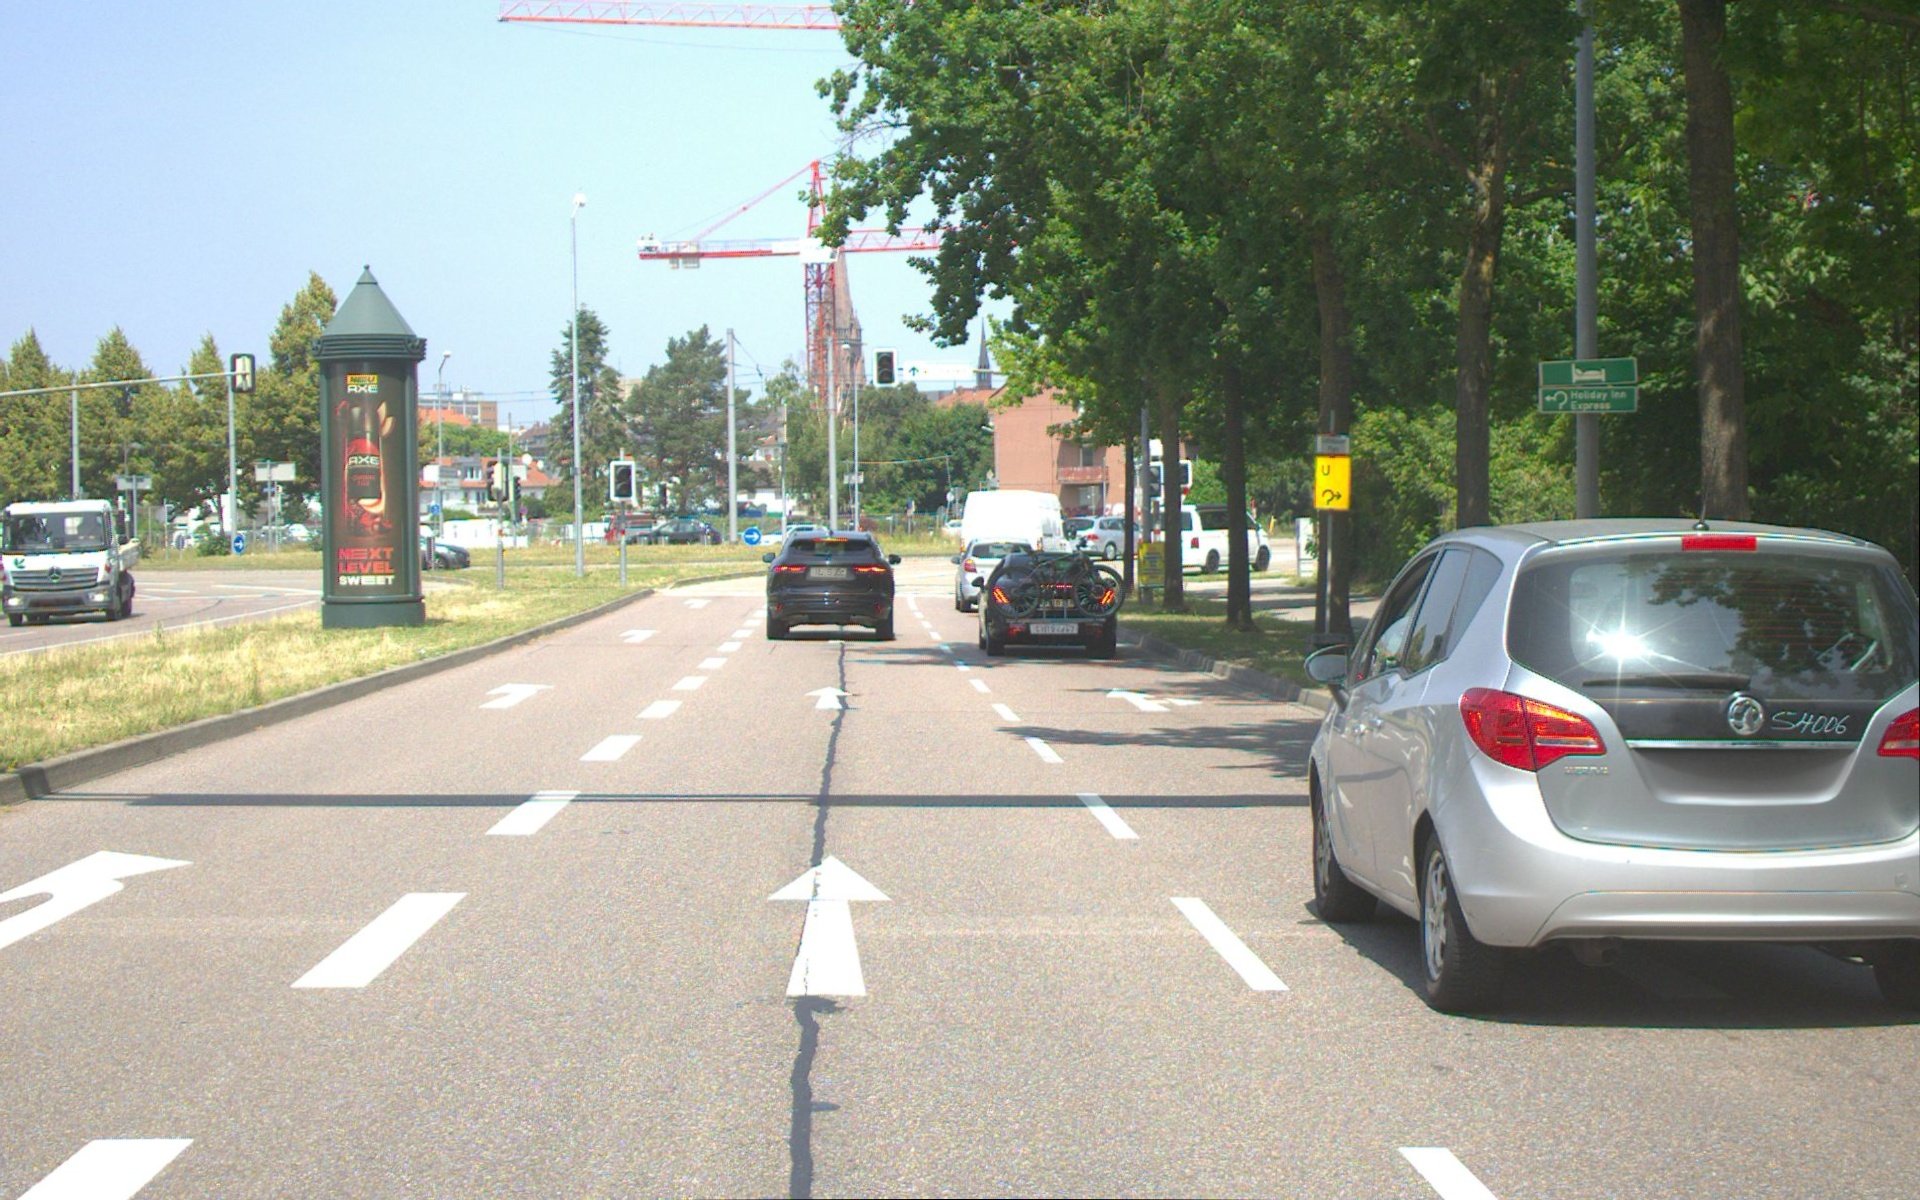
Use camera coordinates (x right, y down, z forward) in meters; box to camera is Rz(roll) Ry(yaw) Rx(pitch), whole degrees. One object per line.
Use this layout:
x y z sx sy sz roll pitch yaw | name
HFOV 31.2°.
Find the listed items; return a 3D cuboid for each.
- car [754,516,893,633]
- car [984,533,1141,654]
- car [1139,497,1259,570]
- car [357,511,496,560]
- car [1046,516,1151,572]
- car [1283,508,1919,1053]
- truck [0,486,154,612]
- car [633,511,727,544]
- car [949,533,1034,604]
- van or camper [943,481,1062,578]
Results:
-2.060 -0.429 52.863 1.998 1.683 4.034 0 2 0 | car
1.352 -0.127 47.109 2.014 1.512 4.461 -1 1 0 | car
6.851 -1.911 98.126 1.996 2.007 3.994 0 2 27 | car
-16.544 -1.998 106.757 3.987 1.448 2.000 -1 1 0 | car
4.480 -1.822 110.756 1.865 1.744 3.994 0 2 27 | car
2.289 0.485 12.174 1.792 1.606 3.891 -1 1 -2 | car
-19.172 -1.130 74.153 2.638 2.568 6.319 -1 1 -6 | truck
-12.881 -3.355 158.191 3.988 1.459 2.000 -1 1 6 | car
0.614 -0.674 70.155 1.654 1.351 4.461 -1 1 0 | car
1.089 -1.741 84.353 2.494 2.283 4.920 -1 1 5 | van or camper
